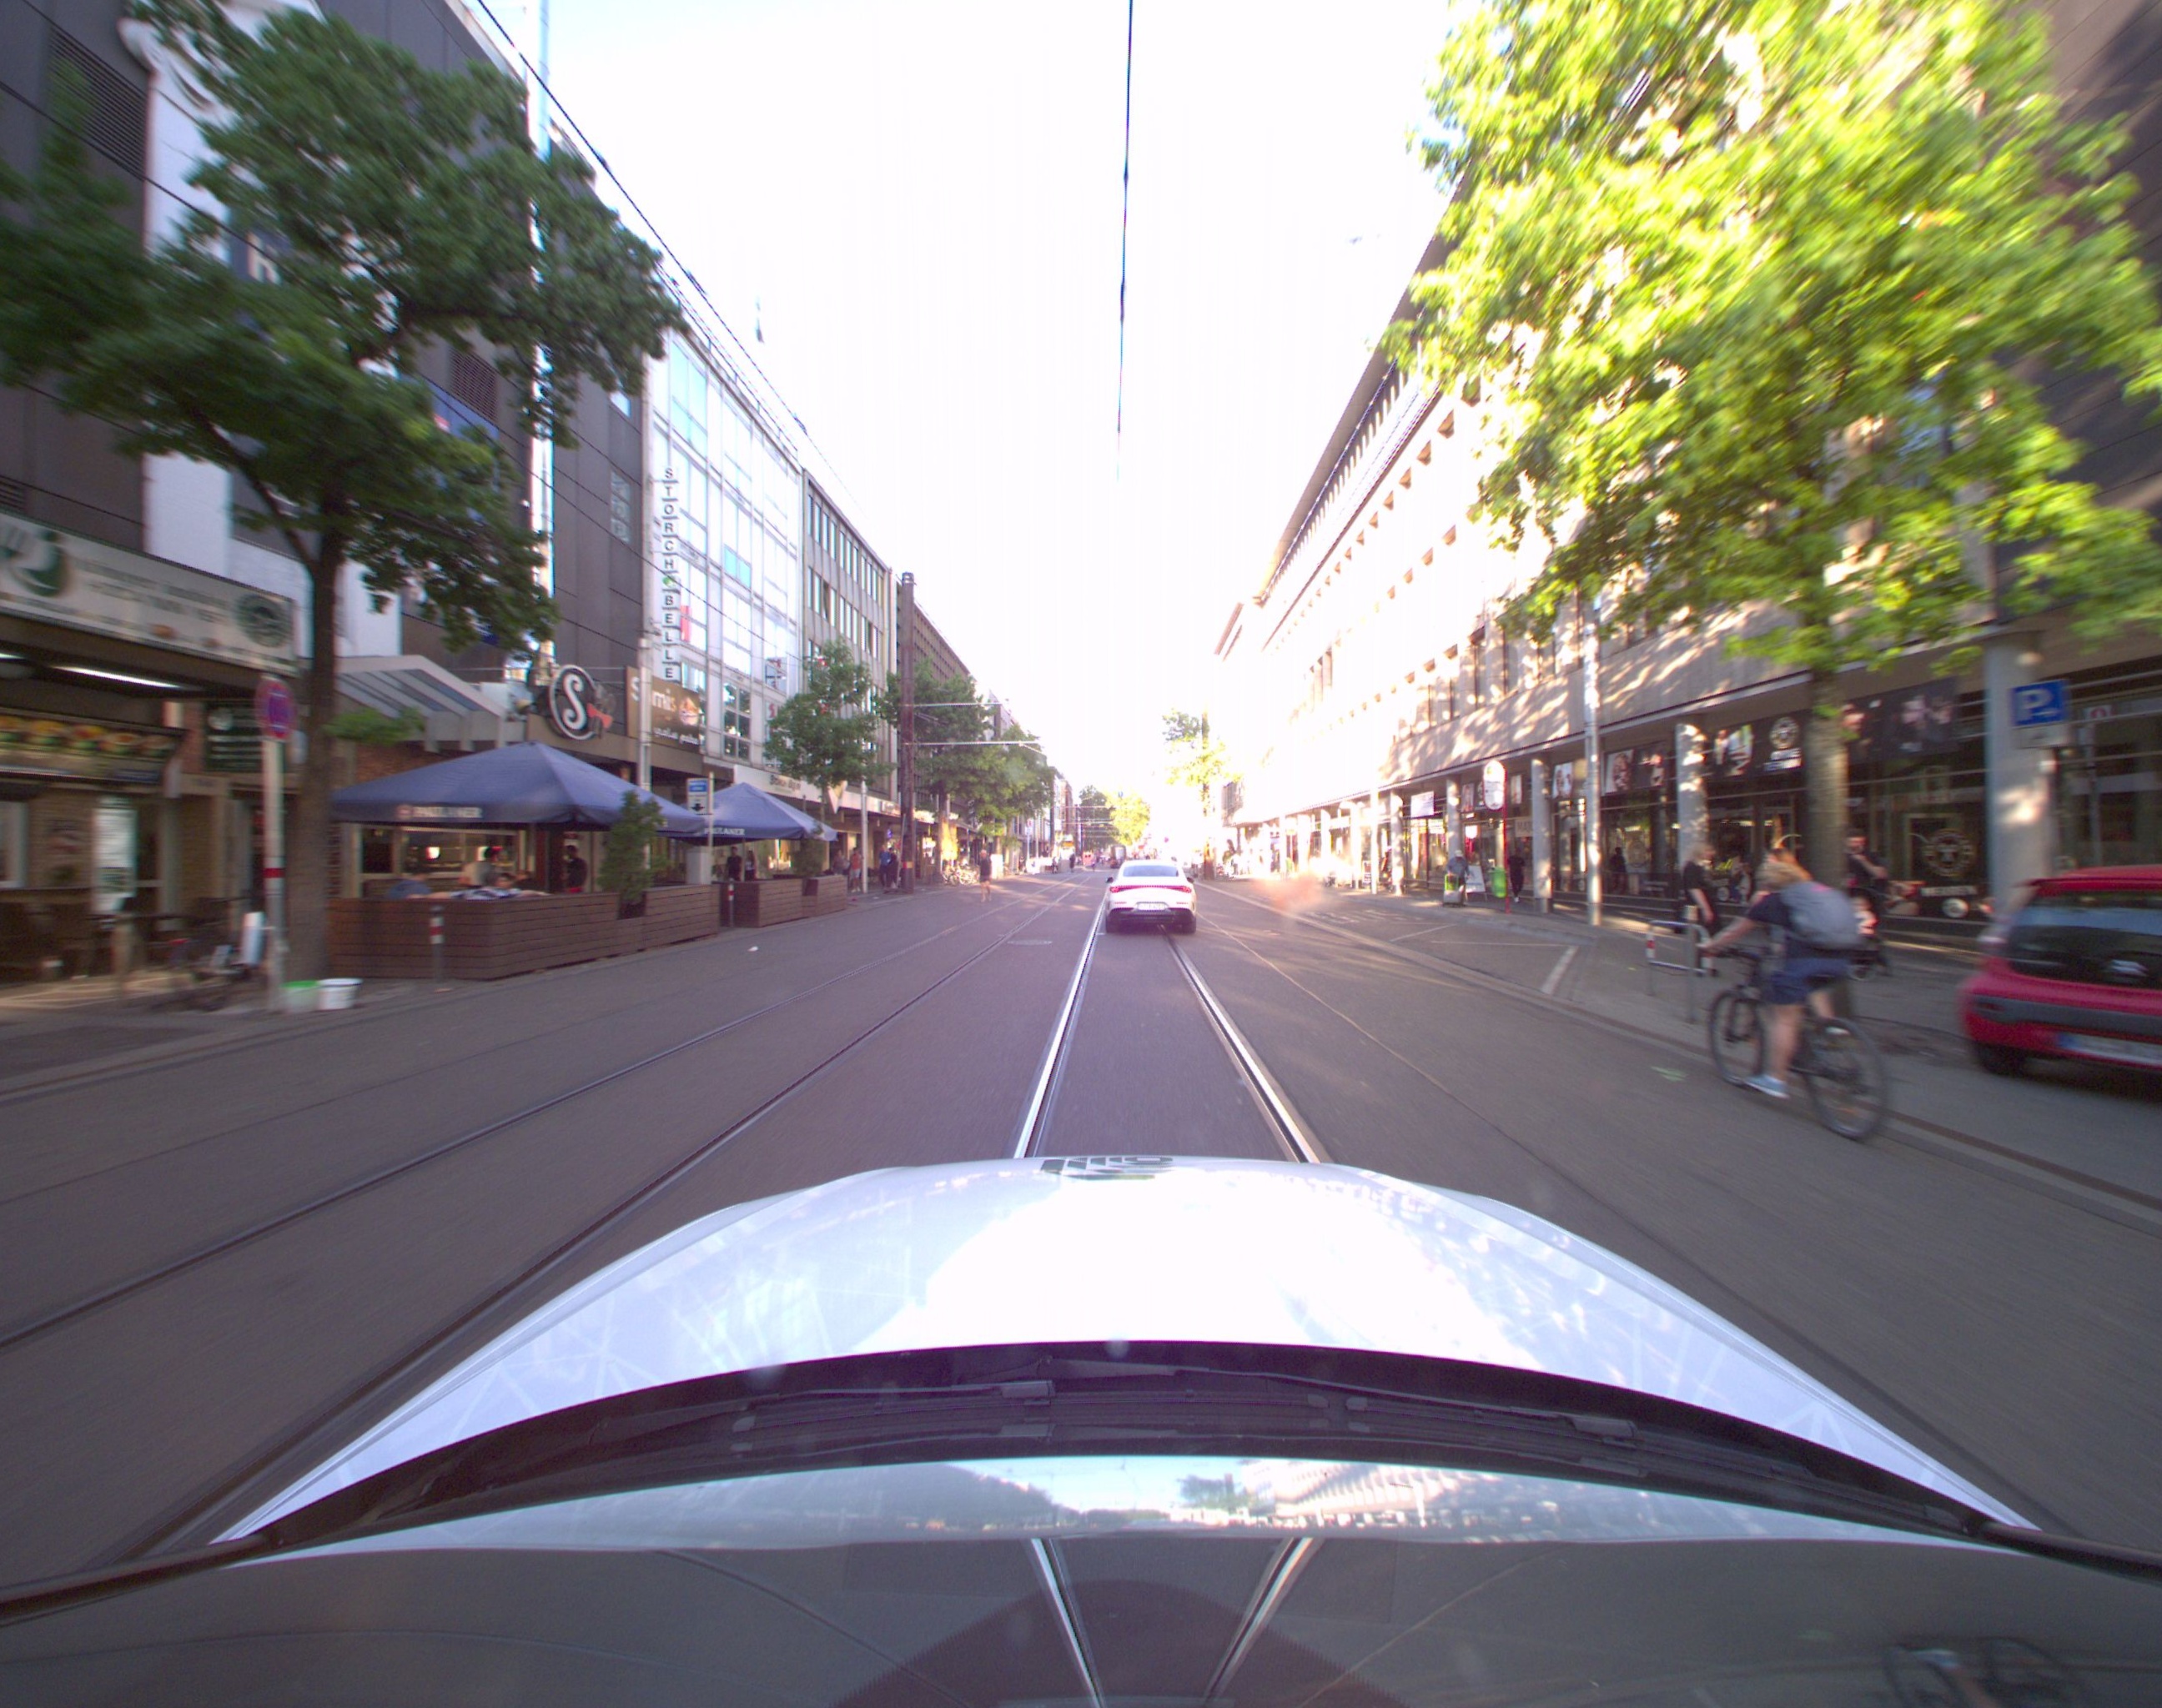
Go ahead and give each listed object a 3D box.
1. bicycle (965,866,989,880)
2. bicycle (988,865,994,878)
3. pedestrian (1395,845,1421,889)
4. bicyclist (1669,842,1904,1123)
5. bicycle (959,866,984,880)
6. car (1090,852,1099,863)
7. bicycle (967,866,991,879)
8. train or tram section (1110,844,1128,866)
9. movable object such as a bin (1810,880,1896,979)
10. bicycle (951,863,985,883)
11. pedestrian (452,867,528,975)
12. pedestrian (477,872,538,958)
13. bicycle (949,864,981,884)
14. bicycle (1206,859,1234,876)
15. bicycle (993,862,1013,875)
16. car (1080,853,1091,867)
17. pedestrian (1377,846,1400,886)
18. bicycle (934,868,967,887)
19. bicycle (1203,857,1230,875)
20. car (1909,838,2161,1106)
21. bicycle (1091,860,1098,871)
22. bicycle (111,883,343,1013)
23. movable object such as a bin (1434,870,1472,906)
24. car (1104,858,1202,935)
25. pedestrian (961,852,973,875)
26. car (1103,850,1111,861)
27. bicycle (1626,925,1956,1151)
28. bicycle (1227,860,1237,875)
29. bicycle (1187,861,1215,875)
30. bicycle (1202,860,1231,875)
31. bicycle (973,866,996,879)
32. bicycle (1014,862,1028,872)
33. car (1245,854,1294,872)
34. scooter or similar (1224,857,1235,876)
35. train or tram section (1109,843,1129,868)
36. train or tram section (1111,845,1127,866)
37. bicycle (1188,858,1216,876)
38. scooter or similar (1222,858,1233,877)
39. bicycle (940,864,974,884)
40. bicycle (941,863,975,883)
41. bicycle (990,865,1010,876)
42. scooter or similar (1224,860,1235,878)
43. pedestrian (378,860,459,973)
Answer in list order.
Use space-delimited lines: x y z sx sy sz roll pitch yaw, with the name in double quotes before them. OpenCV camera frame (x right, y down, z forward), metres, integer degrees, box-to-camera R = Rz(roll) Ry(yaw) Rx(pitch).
"bicycle" -6.619 1.202 51.953 1.486 0.841 0.345 1 0 3
"bicycle" -6.027 1.164 54.500 0.343 0.783 1.402 1 0 -5
"pedestrian" 13.503 0.518 33.629 0.741 1.793 0.858 0 0 3
"bicyclist" 4.459 0.742 5.233 0.772 1.613 0.915 1 0 11
"bicycle" -6.850 1.181 50.932 1.486 0.841 0.345 1 0 3
"car" 3.273 0.782 191.475 1.902 2.461 5.279 -1 0 3
"bicycle" -6.581 1.196 52.672 1.486 0.783 0.345 1 0 3
"train or tram section" 6.282 0.203 134.610 2.684 3.516 12.553 -1 0 3
"movable object such as a bin" 9.159 0.864 9.668 0.681 1.064 0.838 -3 -1 44
"bicycle" -6.308 1.059 45.620 1.841 1.077 0.377 1 0 -2
"pedestrian" -7.696 0.857 10.623 0.547 1.356 0.583 0 0 2
"pedestrian" -8.457 0.890 12.013 0.493 1.228 0.535 0 0 2
"bicycle" -6.864 1.198 48.231 1.838 1.141 0.377 1 0 3
"bicycle" 10.302 0.980 60.459 1.907 1.156 0.608 -2 -1 -9
"bicycle" -6.092 1.130 63.523 1.491 1.029 0.344 1 0 -8
"car" 0.977 1.316 172.610 1.985 2.897 5.279 -1 0 3
"pedestrian" 13.438 0.521 35.624 0.741 1.700 0.858 0 0 3
"bicycle" -6.591 1.167 41.246 1.586 0.930 0.378 1 0 9
"bicycle" 10.320 0.932 62.173 1.907 1.281 0.608 -2 -1 -9
"car" 7.852 0.667 5.583 3.396 1.481 1.657 -3 0 -17
"bicycle" 1.486 1.291 90.656 0.797 1.142 2.257 1 0 1
"bicycle" -9.015 0.929 8.744 0.699 1.121 2.076 2 0 -15
"movable object such as a bin" 9.882 0.902 21.648 0.687 0.924 0.718 1 0 3
"car" 1.468 0.819 17.607 1.850 1.455 4.177 0 0 2
"pedestrian" -9.061 0.767 64.629 0.789 1.767 0.533 -1 -1 -22
"car" 7.168 0.458 223.427 2.090 2.897 5.279 -1 0 3
"bicycle" 4.484 1.070 5.392 0.714 0.995 2.065 1 0 12
"bicycle" 11.786 1.026 63.506 0.562 1.127 1.932 -2 0 6
"bicycle" 9.486 1.083 64.283 2.113 1.096 0.608 0 -1 -9
"bicycle" 10.563 1.040 63.577 2.114 1.096 0.607 -1 -1 -11
"bicycle" -6.321 1.222 53.397 1.486 0.783 0.345 1 0 3
"bicycle" -6.227 1.374 84.747 0.713 1.010 2.048 -1 0 16
"car" 16.222 0.750 70.245 3.792 1.473 1.647 -1 0 -3
"scooter or similar" 10.155 0.860 55.661 0.491 1.277 0.658 -2 0 -9
"train or tram section" 5.683 0.169 122.062 2.684 3.516 12.553 -1 0 3
"train or tram section" 6.839 0.240 146.445 2.684 3.516 11.150 -1 0 3
"bicycle" 9.106 0.964 61.309 1.907 1.281 0.608 -2 -1 -9
"scooter or similar" 10.246 0.949 56.915 0.527 1.277 0.658 -2 0 -9
"bicycle" -6.682 1.067 43.950 1.784 1.077 0.377 1 0 -2
"bicycle" -6.714 1.045 44.425 1.784 1.077 0.377 1 0 -2
"bicycle" -6.162 1.257 62.125 1.486 0.783 0.345 1 0 3
"scooter or similar" 10.240 1.031 56.303 0.527 1.277 0.658 -2 0 -9
"pedestrian" -8.671 0.802 10.674 0.547 1.429 0.583 0 0 2
